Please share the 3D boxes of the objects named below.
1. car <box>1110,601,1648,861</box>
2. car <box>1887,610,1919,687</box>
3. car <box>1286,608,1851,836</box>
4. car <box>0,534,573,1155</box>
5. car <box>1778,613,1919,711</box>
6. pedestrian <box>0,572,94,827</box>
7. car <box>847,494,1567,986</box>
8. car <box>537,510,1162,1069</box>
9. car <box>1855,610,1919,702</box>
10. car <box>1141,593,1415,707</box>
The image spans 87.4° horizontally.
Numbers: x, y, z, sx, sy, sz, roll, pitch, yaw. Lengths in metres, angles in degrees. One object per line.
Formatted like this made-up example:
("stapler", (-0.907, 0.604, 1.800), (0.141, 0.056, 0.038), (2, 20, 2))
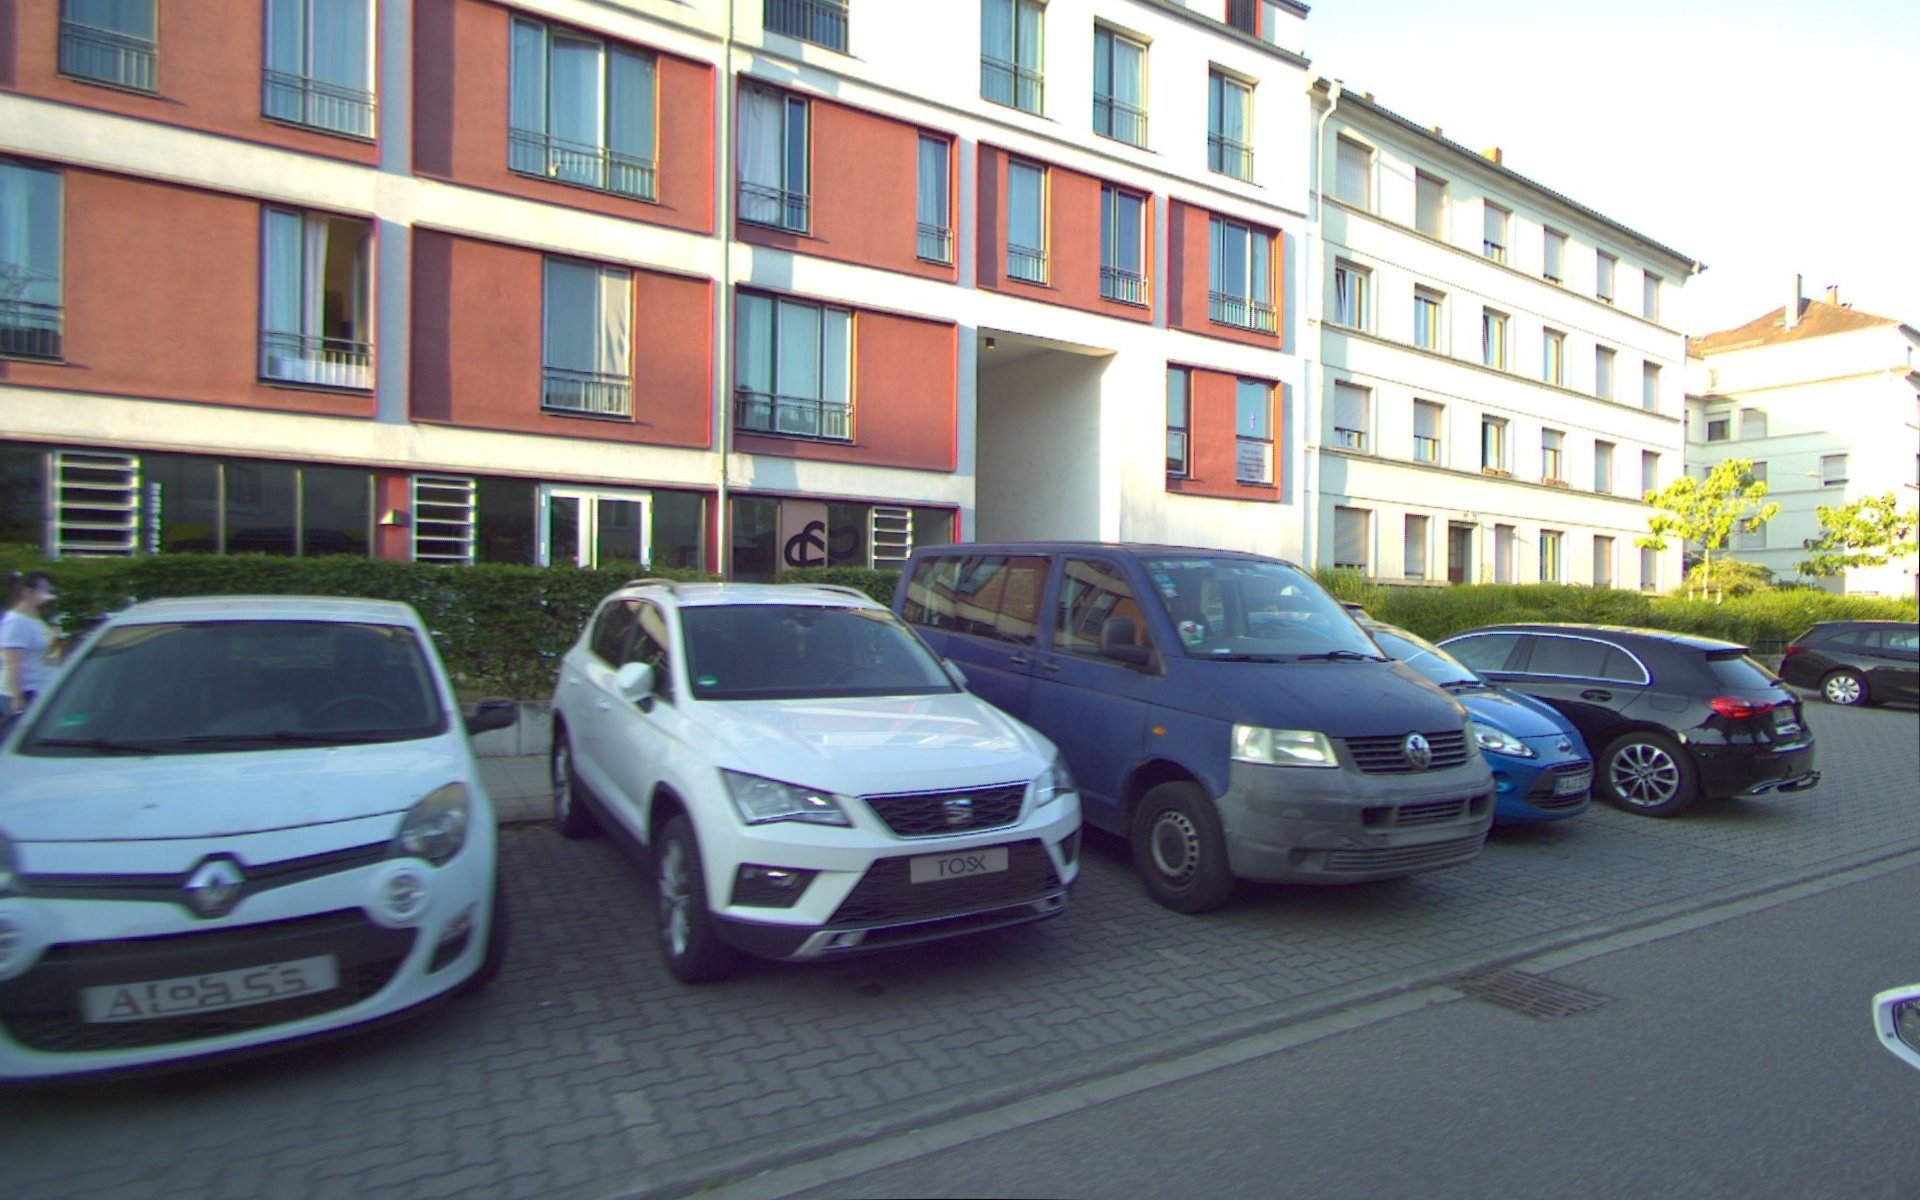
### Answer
("car", (3.167, 0.839, 8.347), (1.636, 1.513, 3.860), (1, 1, -33))
("car", (20.724, 1.073, 19.275), (1.736, 1.504, 3.964), (1, 3, -32))
("car", (5.290, 0.896, 9.295), (1.721, 1.435, 4.111), (1, 1, -35))
("car", (-3.094, 0.683, 4.649), (1.777, 1.639, 3.967), (1, -1, -31))
("car", (16.421, 1.078, 16.403), (1.808, 1.471, 4.382), (1, 2, -33))
("pedestrian", (-6.029, 0.588, 6.245), (0.821, 1.508, 0.853), (1, 0, -31))
("car", (1.106, 0.571, 6.854), (1.976, 2.082, 4.832), (1, 1, -30))
("car", (-1.009, 0.633, 5.435), (1.879, 1.746, 4.166), (1, -1, -30))
("car", (18.762, 1.063, 17.612), (1.792, 1.642, 4.221), (0, 1, -31))
("car", (5.167, 0.735, 16.728), (1.981, 1.656, 3.959), (1, -1, -36))
